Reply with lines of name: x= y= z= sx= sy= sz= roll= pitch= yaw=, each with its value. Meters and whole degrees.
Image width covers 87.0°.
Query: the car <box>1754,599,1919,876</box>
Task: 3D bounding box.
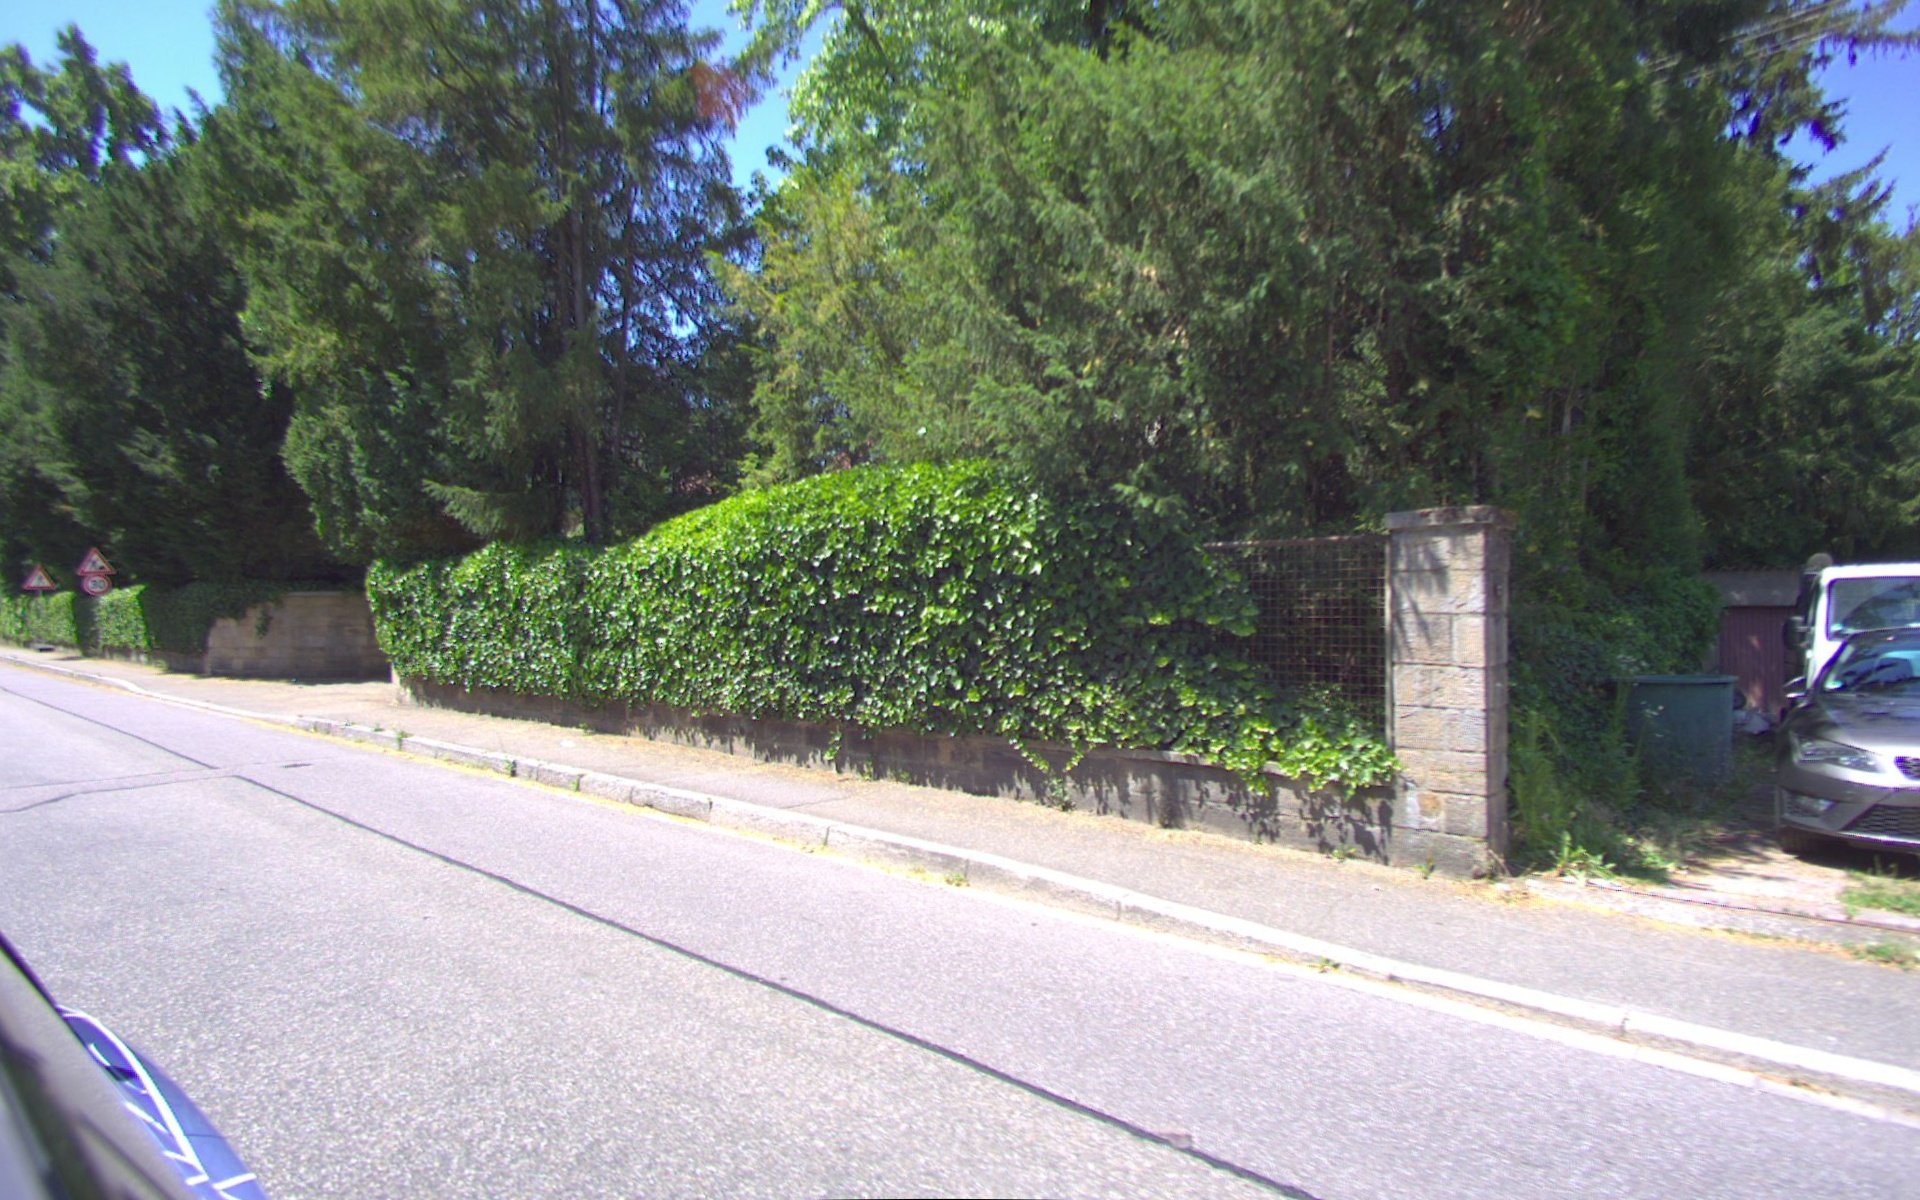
car: x=6.619 y=0.798 z=6.437 sx=3.941 sy=1.435 sz=1.970 roll=4 pitch=-4 yaw=-45

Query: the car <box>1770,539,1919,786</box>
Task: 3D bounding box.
car: x=10.770 y=0.705 z=11.417 sx=2.399 sy=2.188 sz=6.597 roll=-1 pitch=-4 yaw=38
